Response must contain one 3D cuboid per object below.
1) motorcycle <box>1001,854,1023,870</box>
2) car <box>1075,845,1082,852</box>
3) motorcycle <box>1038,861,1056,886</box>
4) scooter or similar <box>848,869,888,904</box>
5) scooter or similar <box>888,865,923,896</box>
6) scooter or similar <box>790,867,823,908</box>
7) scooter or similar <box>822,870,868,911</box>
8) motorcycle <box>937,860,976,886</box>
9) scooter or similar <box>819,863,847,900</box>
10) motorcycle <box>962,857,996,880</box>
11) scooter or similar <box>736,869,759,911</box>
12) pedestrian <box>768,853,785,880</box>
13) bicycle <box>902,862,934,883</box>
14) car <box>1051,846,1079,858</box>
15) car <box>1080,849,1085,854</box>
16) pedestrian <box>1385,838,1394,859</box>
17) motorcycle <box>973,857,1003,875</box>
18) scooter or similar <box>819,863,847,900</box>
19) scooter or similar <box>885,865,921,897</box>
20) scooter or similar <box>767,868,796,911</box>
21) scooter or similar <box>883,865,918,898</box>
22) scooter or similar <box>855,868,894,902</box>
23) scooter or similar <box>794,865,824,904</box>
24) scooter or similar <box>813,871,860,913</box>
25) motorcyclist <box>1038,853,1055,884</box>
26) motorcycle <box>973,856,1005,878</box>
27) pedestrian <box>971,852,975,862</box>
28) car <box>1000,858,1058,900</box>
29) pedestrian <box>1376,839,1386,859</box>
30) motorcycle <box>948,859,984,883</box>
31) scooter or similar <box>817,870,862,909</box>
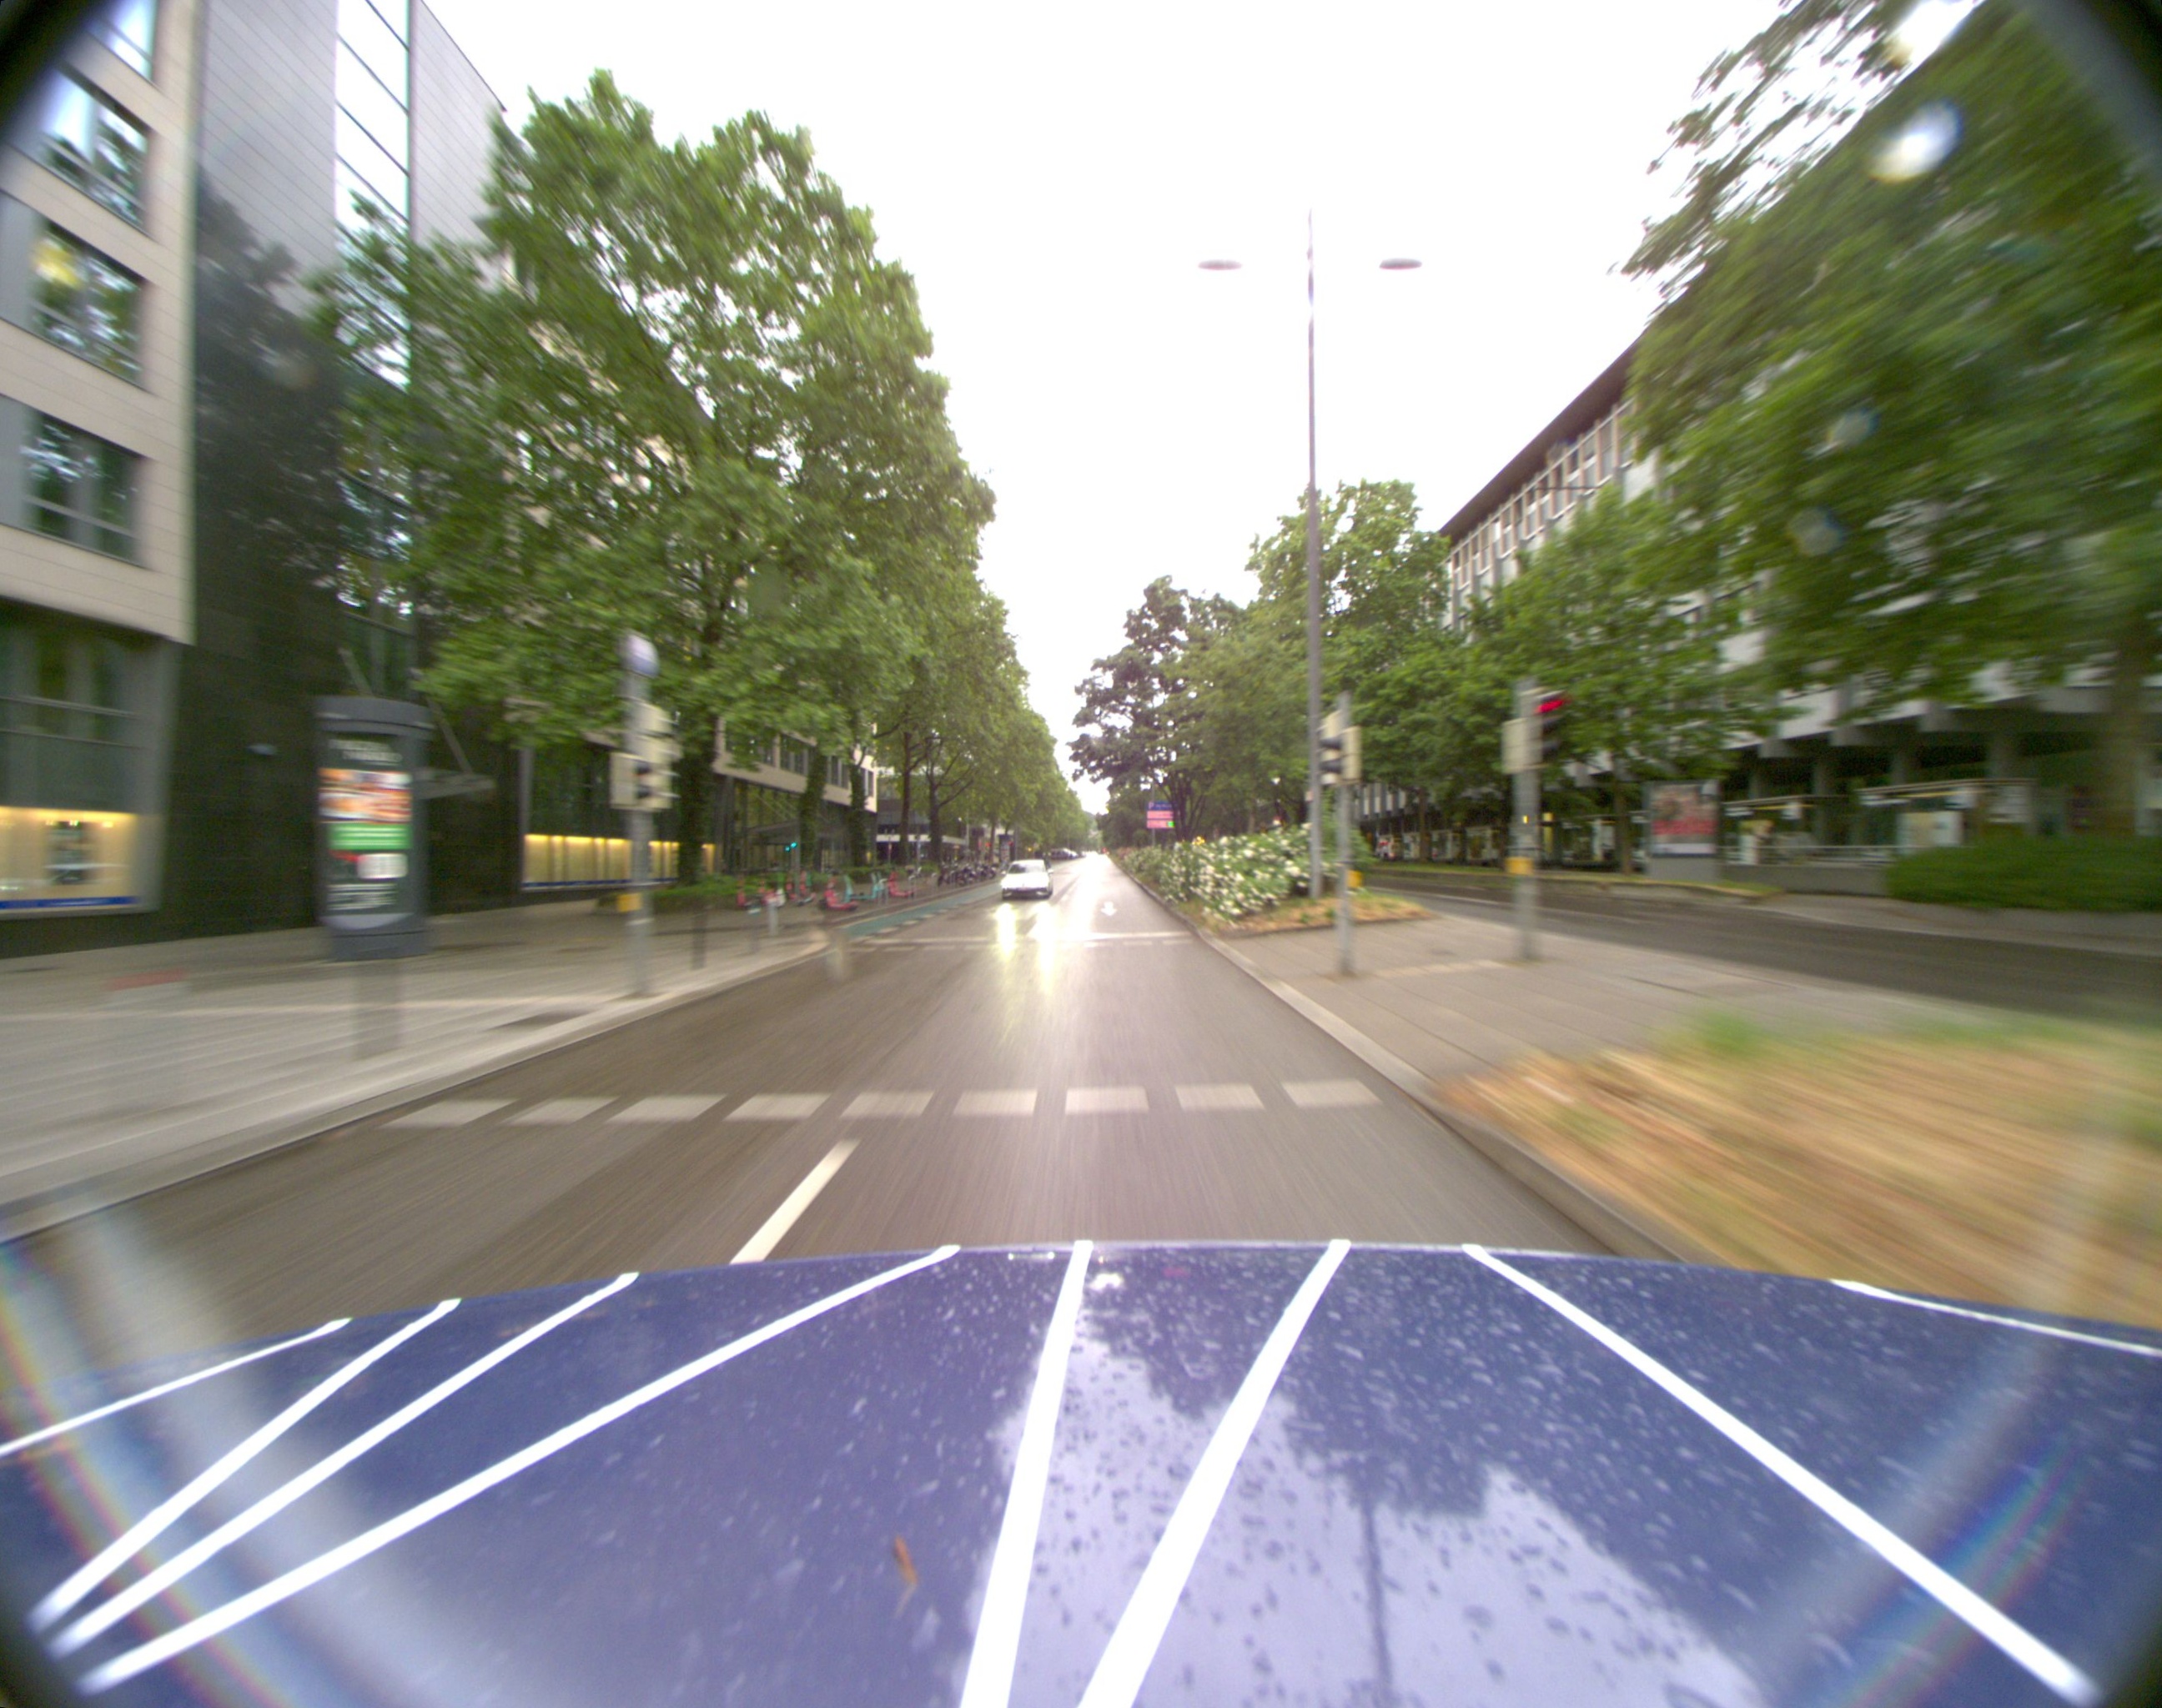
[{"bbox_3d":[-6.128,0.686,67.510,0.682,1.359,1.950,4,2,42],"label":"motorcycle"},{"bbox_3d":[-0.671,-1.421,195.235,1.598,1.517,3.425,-1,0,2],"label":"car"},{"bbox_3d":[-1.758,0.985,39.235,0.744,1.194,2.235,-1,1,2],"label":"motorcycle"},{"bbox_3d":[-7.705,1.166,27.532,1.292,1.228,0.489,1,-1,4],"label":"scooter or similar"},{"bbox_3d":[-7.257,1.083,31.463,1.292,1.270,0.537,1,-1,6],"label":"scooter or similar"},{"bbox_3d":[-8.500,1.023,23.544,0.489,1.252,1.294,1,-1,2],"label":"scooter or similar"},{"bbox_3d":[-7.471,1.142,24.089,1.291,1.252,0.490,0,-1,13],"label":"scooter or similar"},{"bbox_3d":[-6.619,0.996,40.492,1.963,1.365,0.728,1,-1,-14],"label":"motorcycle"},{"bbox_3d":[-8.644,0.939,26.479,0.489,1.252,1.294,1,-1,2],"label":"scooter or similar"},{"bbox_3d":[-6.372,0.918,47.397,1.964,1.365,0.728,1,-1,-20],"label":"motorcycle"},{"bbox_3d":[-10.097,1.075,22.962,0.490,1.191,1.290,-2,2,-29],"label":"scooter or similar"},{"bbox_3d":[-19.681,0.803,49.120,0.727,1.683,0.830,1,0,44],"label":"pedestrian"},{"bbox_3d":[-8.686,0.986,40.622,0.637,1.022,1.767,0,1,30],"label":"bicycle"},{"bbox_3d":[-3.639,-0.382,172.232,6.267,2.665,2.326,-1,2,37],"label":"car"},{"bbox_3d":[0.429,-0.795,237.718,1.598,1.517,3.425,-1,0,2],"label":"car"},{"bbox_3d":[26.250,-0.466,64.689,0.549,1.796,0.522,-1,1,2],"label":"pedestrian"},{"bbox_3d":[-6.630,0.856,54.201,2.064,1.206,0.683,1,1,-34],"label":"motorcycle"},{"bbox_3d":[-8.644,0.939,26.479,0.489,1.252,1.294,1,-1,2],"label":"scooter or similar"},{"bbox_3d":[-7.253,1.091,31.019,1.292,1.270,0.537,1,-1,6],"label":"scooter or similar"},{"bbox_3d":[-8.930,1.049,22.701,0.489,1.191,1.292,-1,1,-8],"label":"scooter or similar"},{"bbox_3d":[-7.199,1.102,30.332,1.294,1.270,0.536,1,-1,-9],"label":"scooter or similar"},{"bbox_3d":[-7.686,1.152,28.277,1.292,1.228,0.489,1,-1,4],"label":"scooter or similar"},{"bbox_3d":[-9.037,1.005,25.293,0.489,1.252,1.294,1,-1,2],"label":"scooter or similar"},{"bbox_3d":[-7.565,1.156,23.480,1.291,1.252,0.490,0,-1,13],"label":"scooter or similar"},{"bbox_3d":[-1.764,0.743,39.323,0.744,1.575,1.059,-1,1,2],"label":"motorcyclist"},{"bbox_3d":[-6.285,0.890,51.790,2.062,1.420,0.728,1,-1,-20],"label":"motorcycle"},{"bbox_3d":[-17.148,0.509,120.532,0.527,1.616,0.719,1,2,2],"label":"pedestrian"},{"bbox_3d":[-1.969,0.926,29.835,1.795,1.463,3.794,-2,0,2],"label":"car"},{"bbox_3d":[25.497,-0.399,64.576,0.565,1.698,0.686,-1,1,2],"label":"pedestrian"},{"bbox_3d":[-6.648,0.988,43.957,1.964,1.365,0.728,1,-1,-20],"label":"motorcycle"},{"bbox_3d":[-7.831,1.142,24.634,1.291,1.252,0.490,0,-1,13],"label":"scooter or similar"}]
